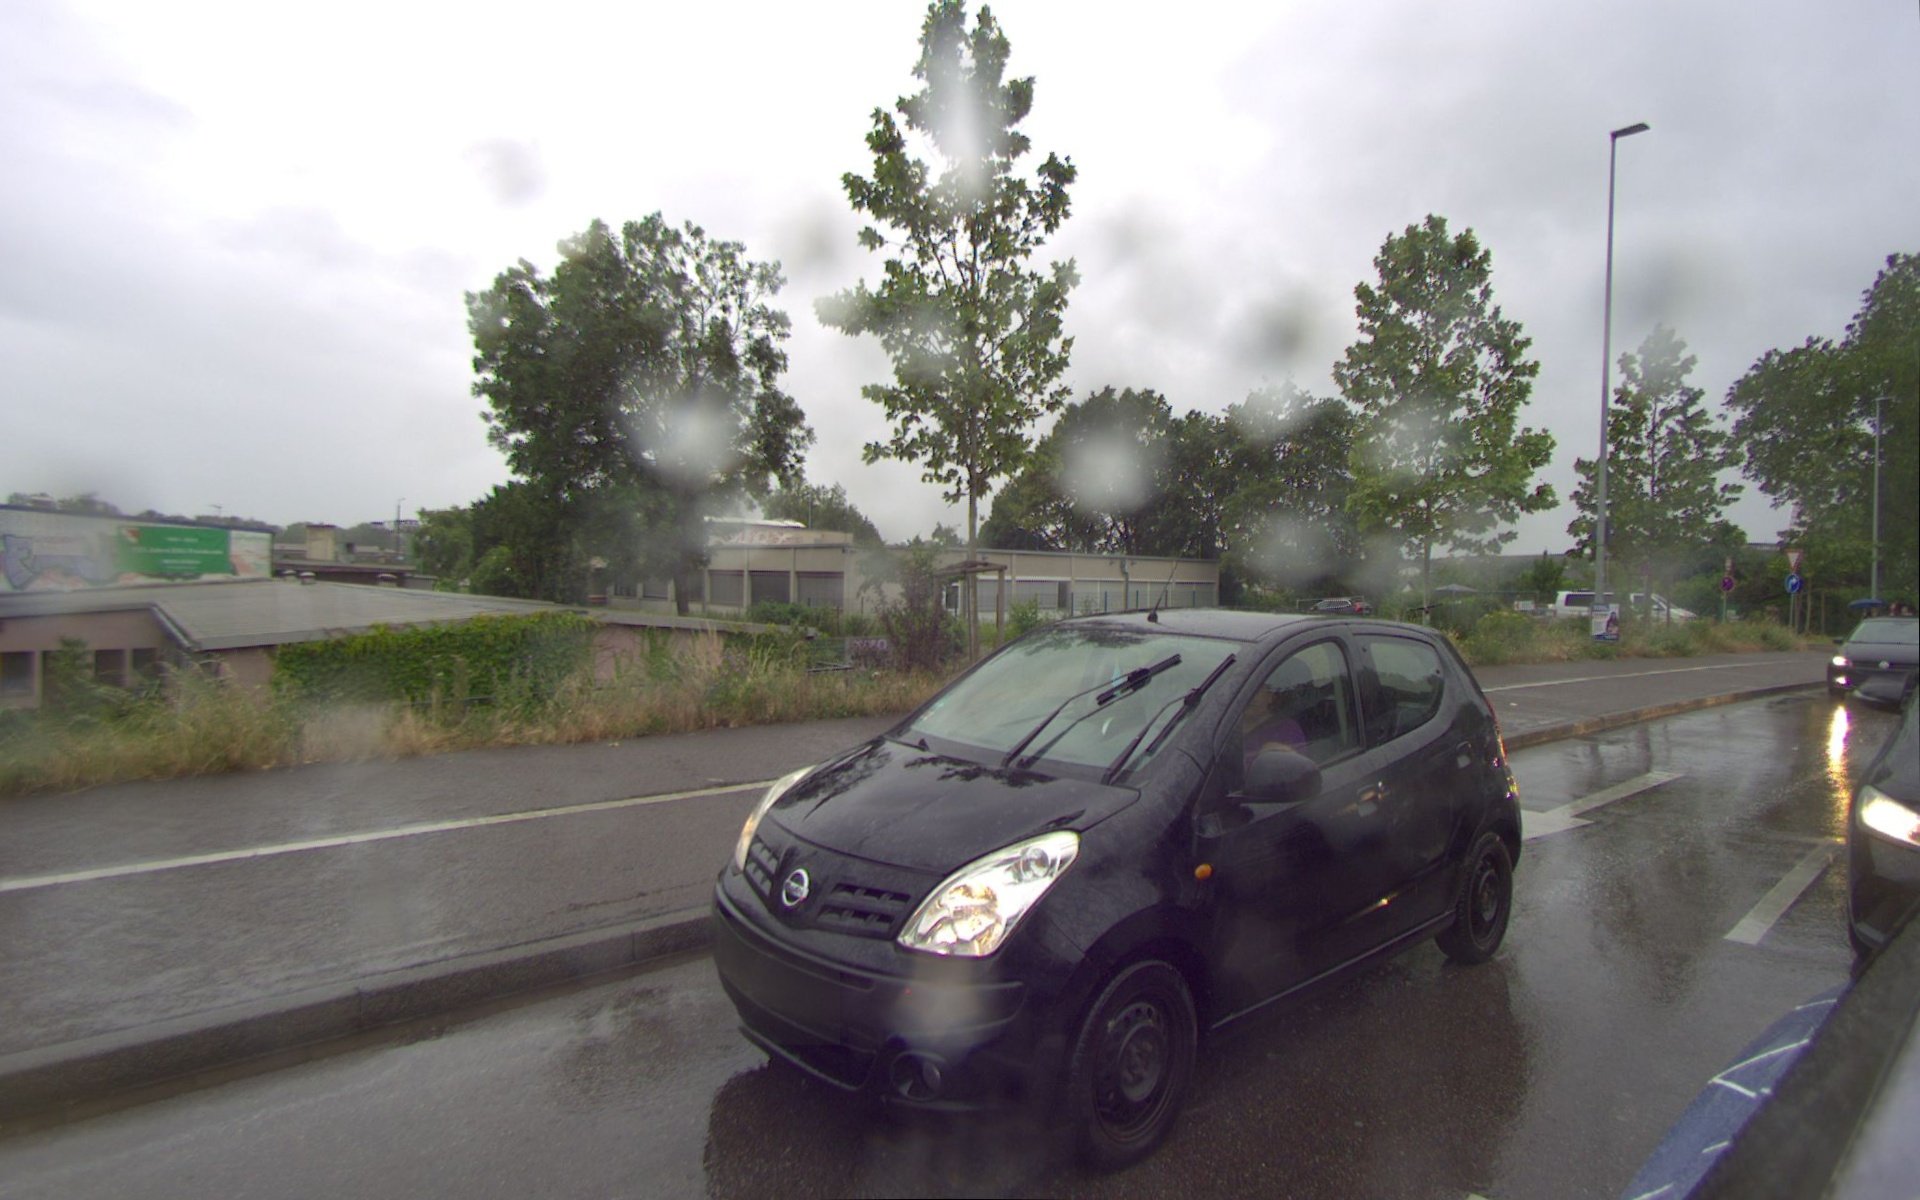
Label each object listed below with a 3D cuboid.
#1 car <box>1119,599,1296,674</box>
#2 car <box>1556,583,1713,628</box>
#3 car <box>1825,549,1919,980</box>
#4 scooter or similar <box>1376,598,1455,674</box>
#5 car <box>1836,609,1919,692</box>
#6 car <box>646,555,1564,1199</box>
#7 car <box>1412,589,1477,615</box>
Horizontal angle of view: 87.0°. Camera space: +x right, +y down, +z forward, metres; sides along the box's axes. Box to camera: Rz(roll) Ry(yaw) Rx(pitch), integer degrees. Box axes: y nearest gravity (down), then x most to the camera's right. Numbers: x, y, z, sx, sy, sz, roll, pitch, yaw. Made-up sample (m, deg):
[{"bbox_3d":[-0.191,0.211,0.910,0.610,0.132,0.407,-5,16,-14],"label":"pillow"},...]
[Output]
[{"bbox_3d":[4.689,0.644,19.492,1.319,1.304,3.246,0,0,-35],"label":"car"},{"bbox_3d":[28.195,0.213,42.476,1.972,1.747,5.168,0,0,-42],"label":"car"},{"bbox_3d":[5.581,0.636,4.452,4.089,1.601,1.760,1,0,-35],"label":"car"},{"bbox_3d":[7.671,0.585,17.008,1.877,1.214,0.367,0,0,-38],"label":"scooter or similar"},{"bbox_3d":[16.537,0.821,17.465,3.652,1.326,1.616,1,-1,-41],"label":"car"},{"bbox_3d":[0.821,0.669,3.891,3.554,1.528,1.556,0,0,-41],"label":"car"},{"bbox_3d":[30.933,0.126,64.686,1.319,1.604,3.555,0,0,-35],"label":"car"}]
